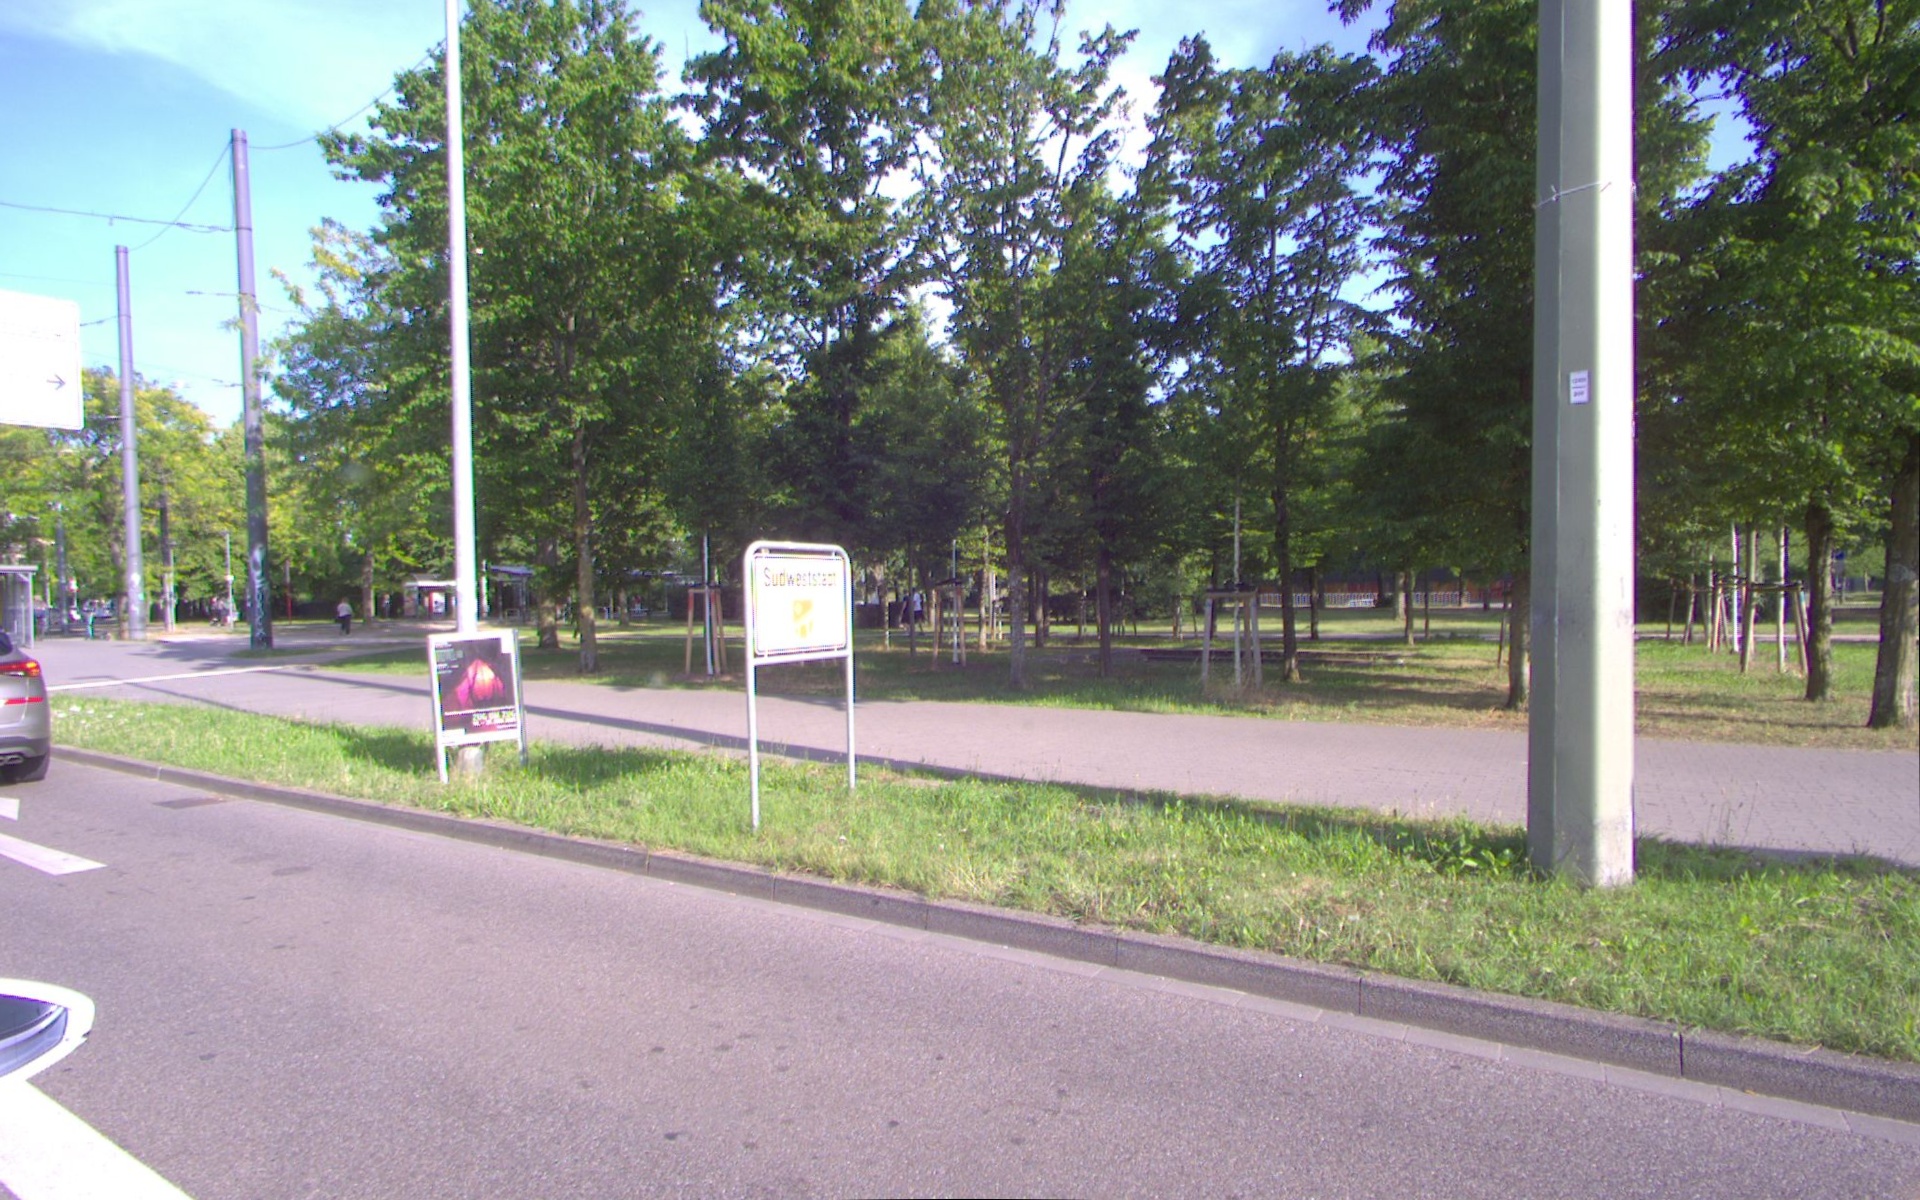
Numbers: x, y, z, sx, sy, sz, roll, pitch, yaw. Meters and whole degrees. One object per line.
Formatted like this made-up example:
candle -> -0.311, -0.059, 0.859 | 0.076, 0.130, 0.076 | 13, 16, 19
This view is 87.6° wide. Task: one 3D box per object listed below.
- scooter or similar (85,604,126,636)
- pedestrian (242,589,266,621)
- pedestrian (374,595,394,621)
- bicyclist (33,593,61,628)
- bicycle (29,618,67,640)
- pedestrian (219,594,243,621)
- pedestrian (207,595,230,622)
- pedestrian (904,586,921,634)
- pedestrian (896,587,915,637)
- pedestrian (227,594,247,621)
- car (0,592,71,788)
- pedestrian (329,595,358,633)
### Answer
scooter or similar -> -31.436, 0.738, 36.852 | 1.305, 1.132, 0.420 | -1, 1, 13
pedestrian -> -40.274, 0.302, 57.135 | 0.826, 1.809, 0.798 | 0, 1, 28
pedestrian -> -36.669, 0.488, 63.746 | 0.792, 1.659, 0.832 | 0, 1, 38
bicyclist -> -33.718, 0.399, 36.975 | 0.856, 1.279, 0.533 | 0, 1, 32
bicycle -> -33.718, 1.072, 37.017 | 2.138, 0.767, 0.494 | -1, 2, 33
pedestrian -> -41.117, 0.424, 56.449 | 0.688, 1.508, 0.813 | 0, 1, 22
pedestrian -> -41.053, 0.468, 55.422 | 0.687, 1.508, 0.815 | -1, 1, -9
pedestrian -> -1.838, 0.380, 38.746 | 0.617, 1.836, 0.502 | -1, 1, 3
pedestrian -> -2.052, 0.441, 37.599 | 0.617, 1.836, 0.502 | -1, 1, 6
pedestrian -> -40.013, 0.414, 55.404 | 0.804, 1.508, 0.696 | -2, 1, -33
car -> -9.999, 0.798, 9.142 | 3.595, 1.673, 1.880 | -1, 1, 32
pedestrian -> -27.447, 0.602, 44.601 | 0.793, 1.659, 0.754 | -1, 1, -7
